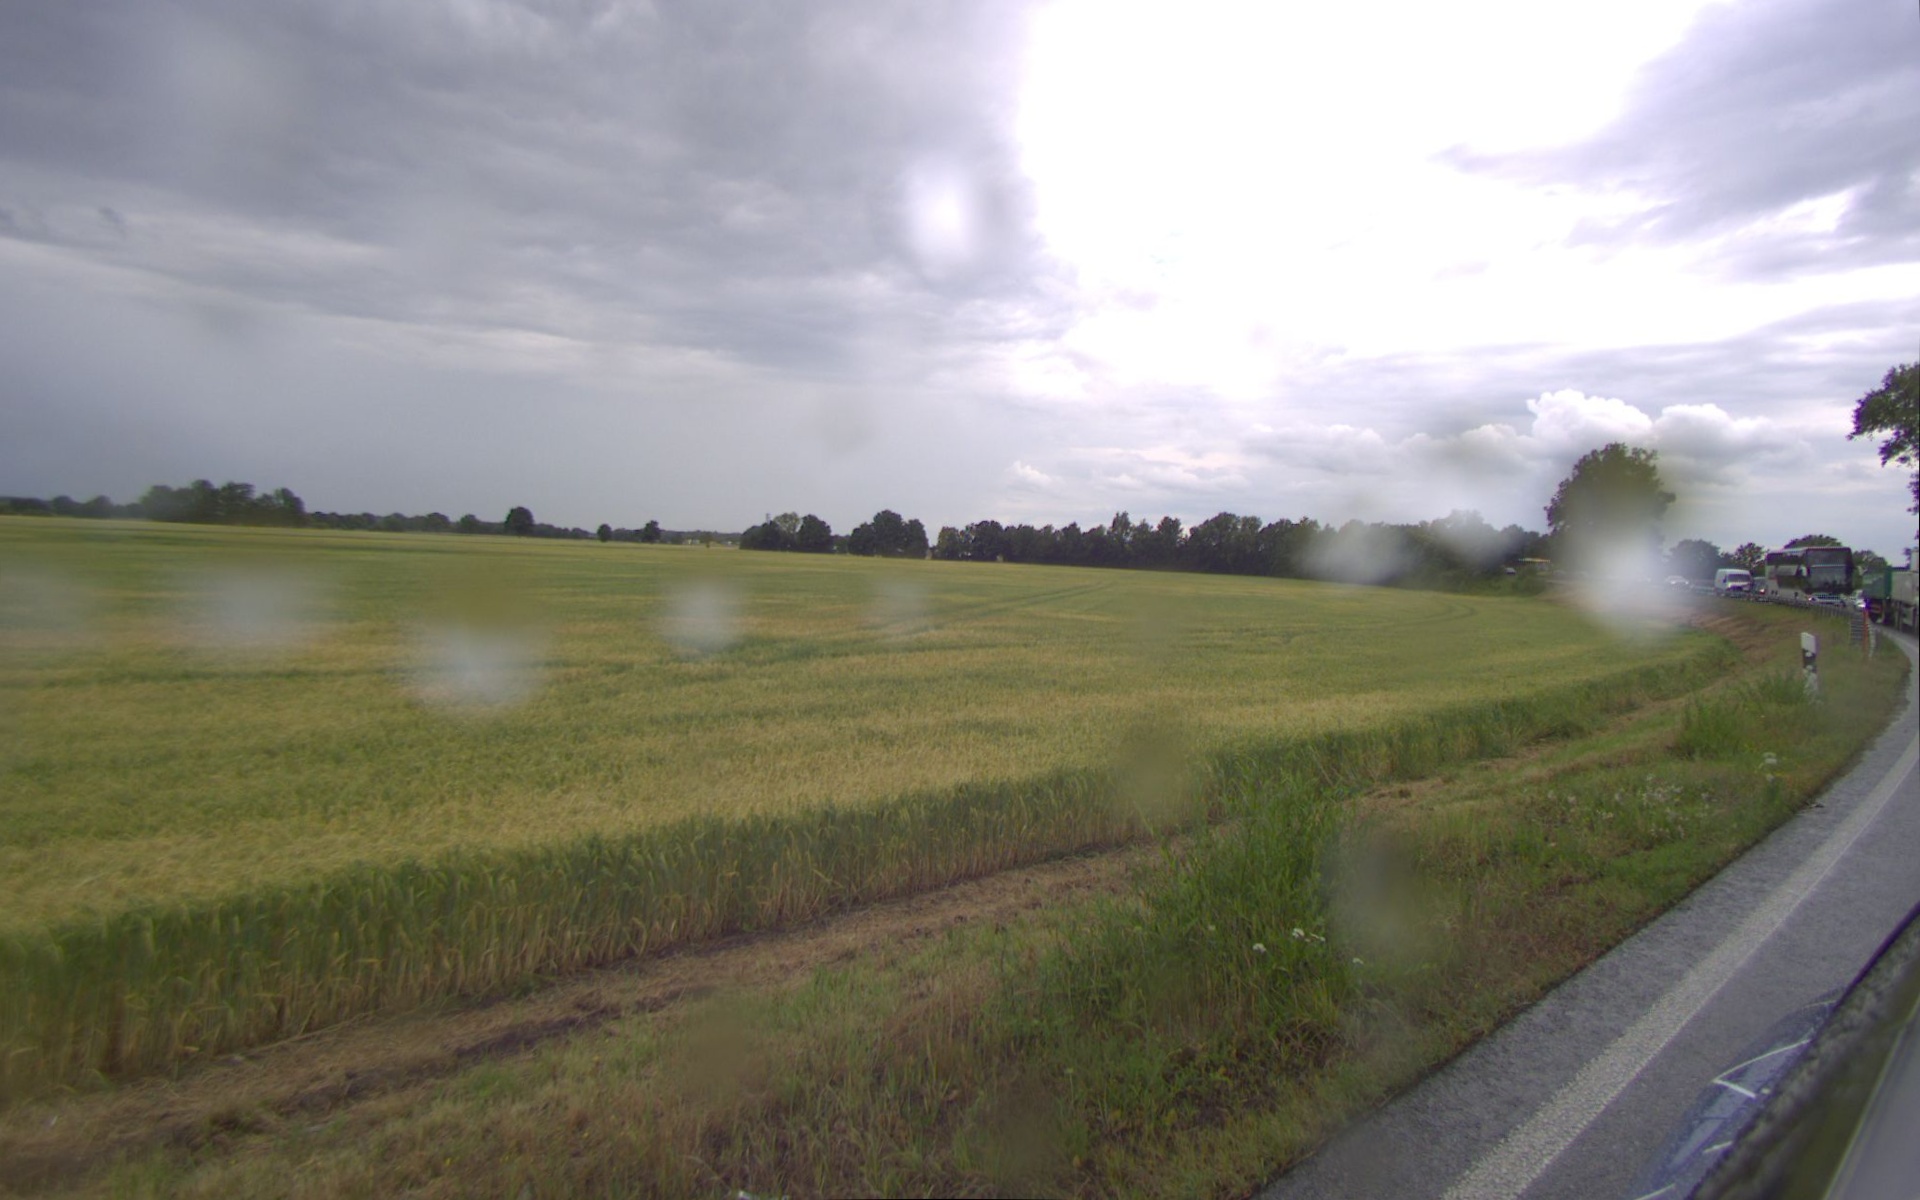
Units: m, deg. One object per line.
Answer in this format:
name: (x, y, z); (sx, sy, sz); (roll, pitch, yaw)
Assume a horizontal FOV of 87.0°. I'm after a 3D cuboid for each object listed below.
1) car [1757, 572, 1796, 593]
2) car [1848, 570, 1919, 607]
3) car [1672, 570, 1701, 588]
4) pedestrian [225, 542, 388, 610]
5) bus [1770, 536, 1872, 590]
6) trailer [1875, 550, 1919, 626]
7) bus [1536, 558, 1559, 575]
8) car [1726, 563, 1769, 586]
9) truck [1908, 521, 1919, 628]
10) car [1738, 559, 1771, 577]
car: (66.278, -1.439, 82.238); (1.799, 1.597, 3.960); (0, 1, 29)
car: (48.769, -0.644, 53.513); (2.029, 1.865, 5.273); (0, 1, 33)
car: (83.869, -2.456, 116.914); (1.979, 2.039, 4.196); (0, 1, 26)
pedestrian: (-20.847, -0.782, 32.398); (1.989, 2.039, 3.947); (0, 1, 37)
bus: (59.102, -2.594, 69.902); (2.942, 3.353, 14.680); (0, 2, 31)
trailer: (39.643, -0.640, 40.838); (2.970, 2.665, 15.467); (0, 2, 38)
bus: (110.315, -6.271, 190.019); (1.972, 2.951, 6.976); (-1, 1, 16)
car: (72.221, -2.351, 92.900); (1.979, 2.038, 5.290); (0, 1, 25)
truck: (34.400, -0.897, 34.200); (2.970, 3.655, 5.997); (0, 1, 39)
car: (96.512, -3.885, 122.959); (1.976, 2.039, 4.092); (0, 1, 21)
